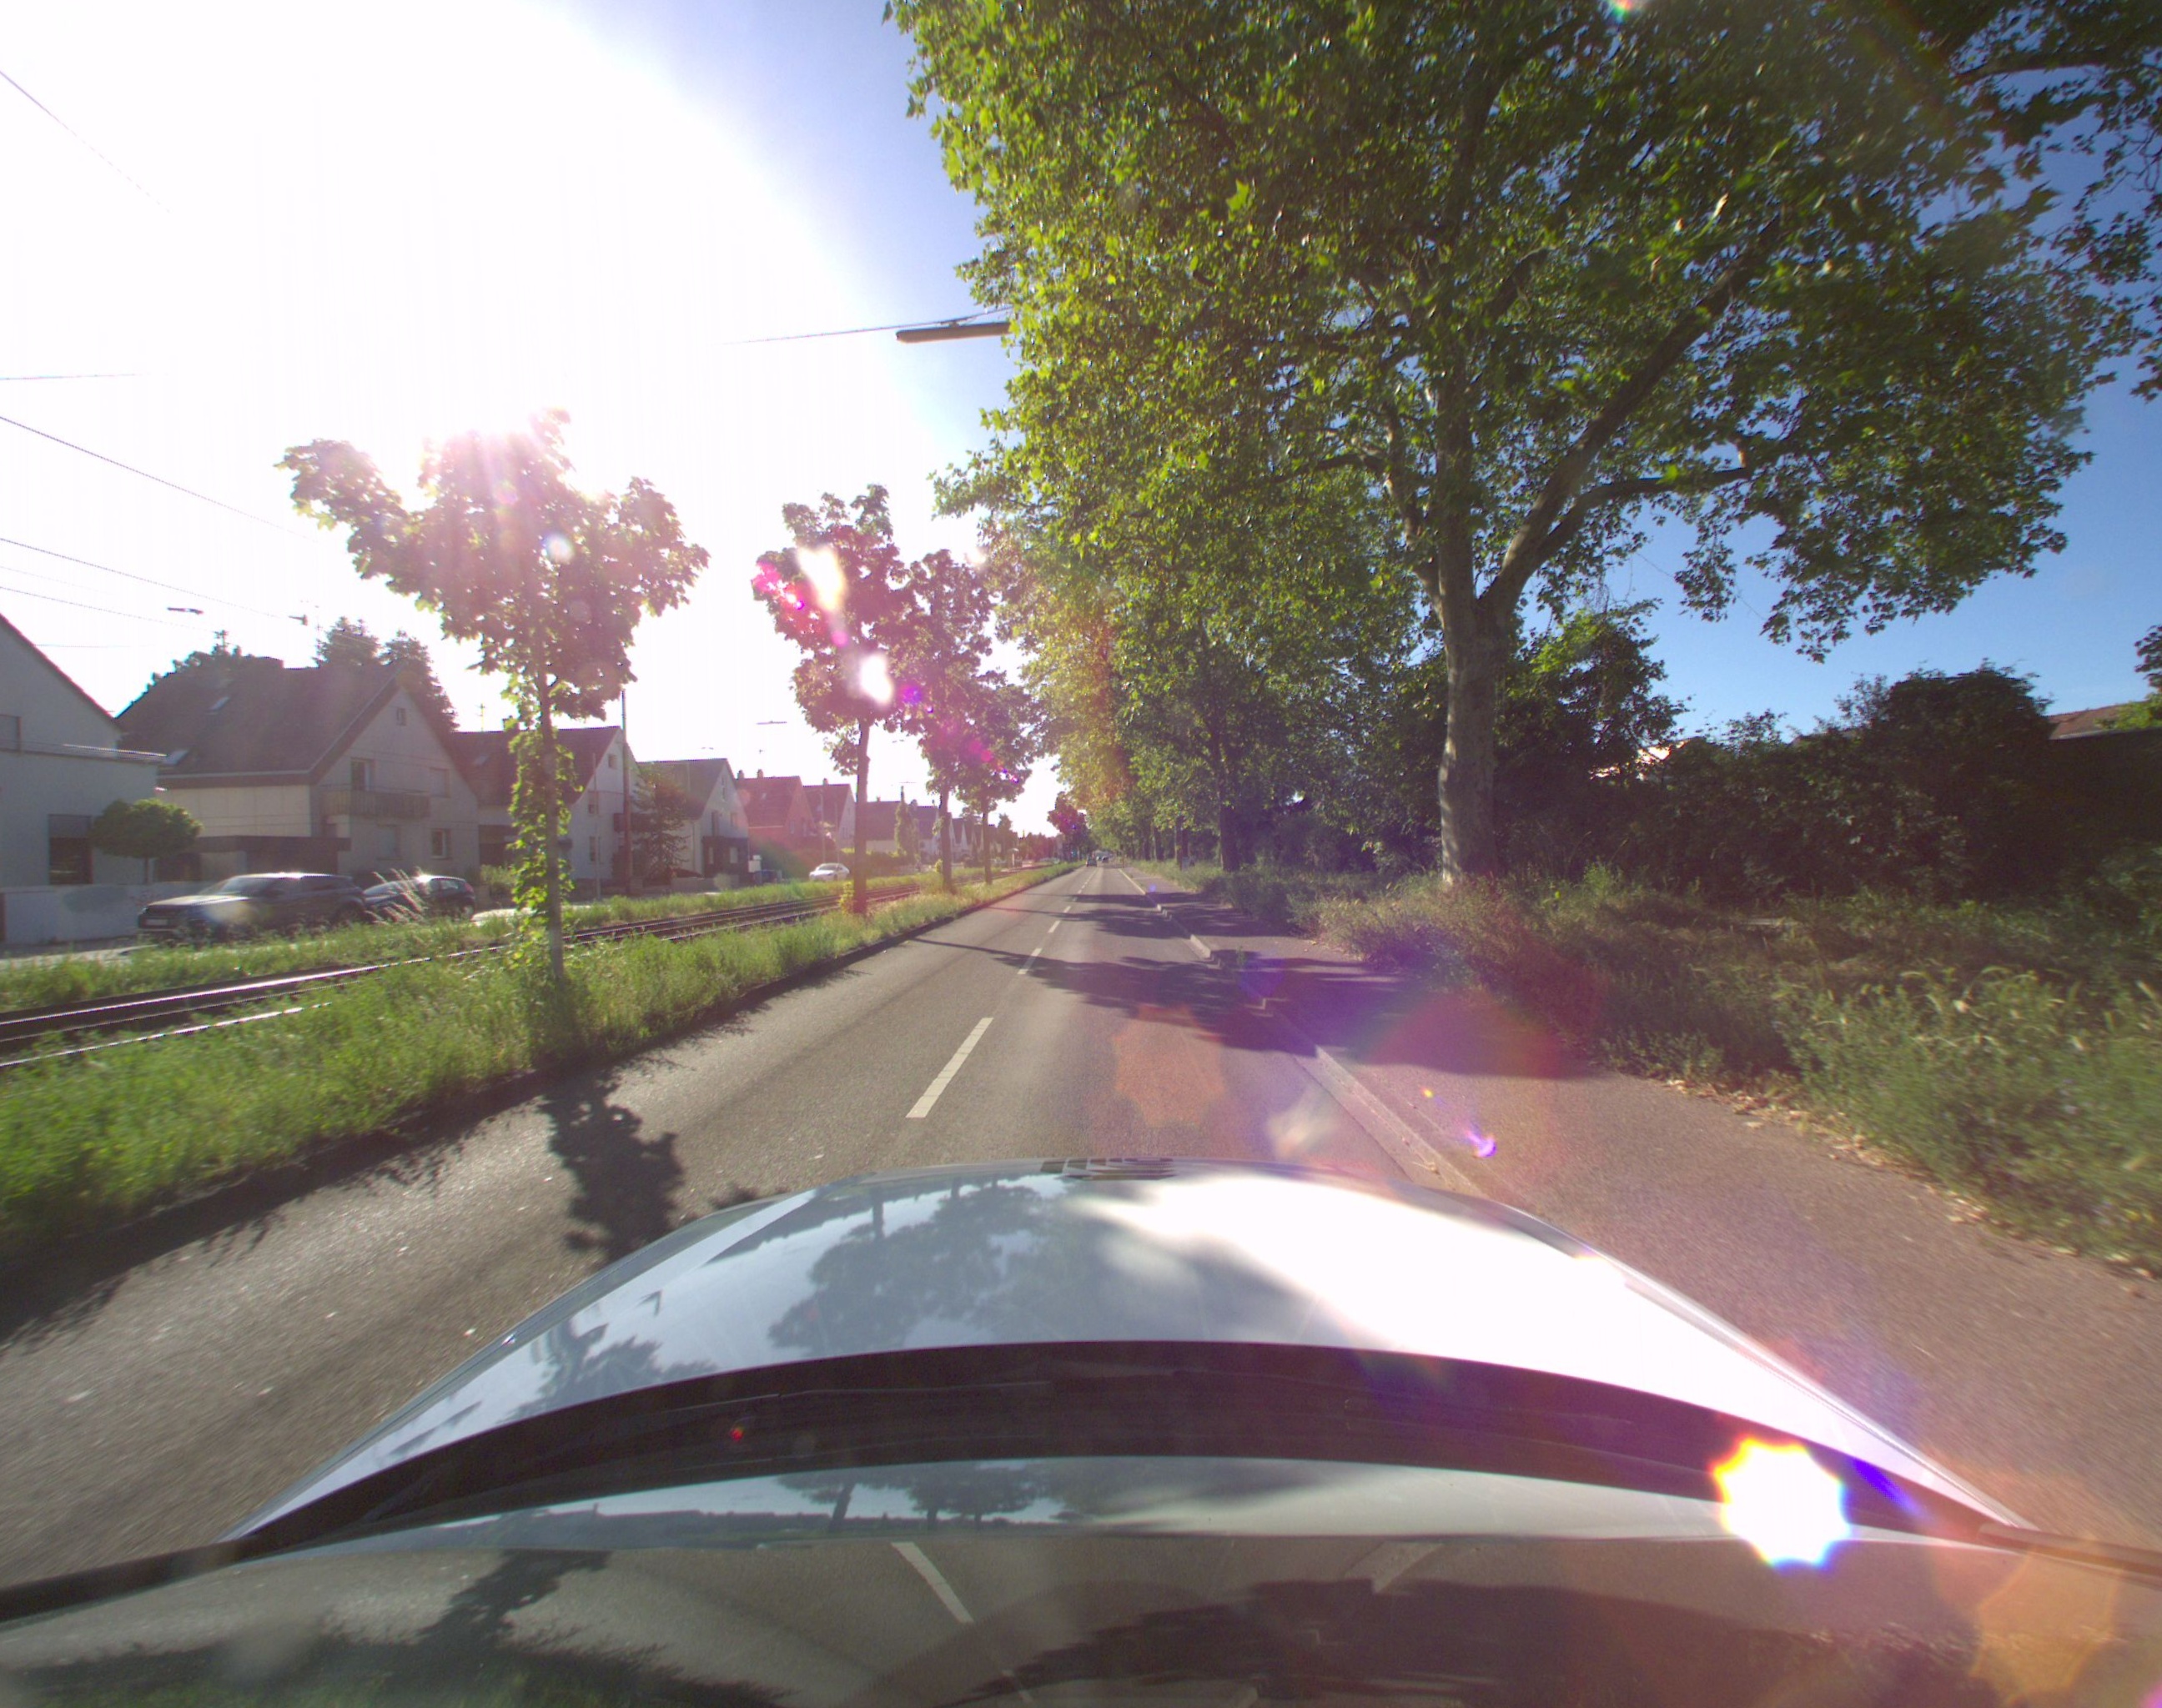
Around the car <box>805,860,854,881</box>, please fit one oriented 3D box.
[{"bbox_3d":[-19.638,1.280,63.786,1.984,1.599,4.738,-1,-1,5],"label":"car"}]

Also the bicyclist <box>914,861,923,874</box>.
[{"bbox_3d":[-16.594,1.351,83.295,0.796,1.278,0.736,0,-1,-2],"label":"bicyclist"}]

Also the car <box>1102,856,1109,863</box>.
[{"bbox_3d":[5.762,1.347,192.448,1.754,1.513,3.278,0,-1,2],"label":"car"}]

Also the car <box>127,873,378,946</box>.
[{"bbox_3d":[-20.459,1.299,20.443,1.637,1.568,4.389,-1,-1,3],"label":"car"}]

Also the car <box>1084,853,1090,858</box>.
[{"bbox_3d":[1.720,0.552,237.080,1.521,1.455,3.289,0,-1,3],"label":"car"}]

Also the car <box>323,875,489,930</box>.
[{"bbox_3d":[-20.281,1.412,24.706,1.608,1.451,3.990,0,-1,2],"label":"car"}]

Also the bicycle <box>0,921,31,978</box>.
[{"bbox_3d":[-18.479,1.637,13.096,0.397,0.927,2.097,-2,0,2],"label":"bicycle"}]

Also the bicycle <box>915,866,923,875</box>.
[{"bbox_3d":[-16.518,1.664,83.007,0.440,0.901,2.059,0,-1,-3],"label":"bicycle"}]

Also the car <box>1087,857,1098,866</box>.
[{"bbox_3d":[1.754,1.186,124.247,1.732,1.401,3.277,0,-1,1],"label":"car"}]
